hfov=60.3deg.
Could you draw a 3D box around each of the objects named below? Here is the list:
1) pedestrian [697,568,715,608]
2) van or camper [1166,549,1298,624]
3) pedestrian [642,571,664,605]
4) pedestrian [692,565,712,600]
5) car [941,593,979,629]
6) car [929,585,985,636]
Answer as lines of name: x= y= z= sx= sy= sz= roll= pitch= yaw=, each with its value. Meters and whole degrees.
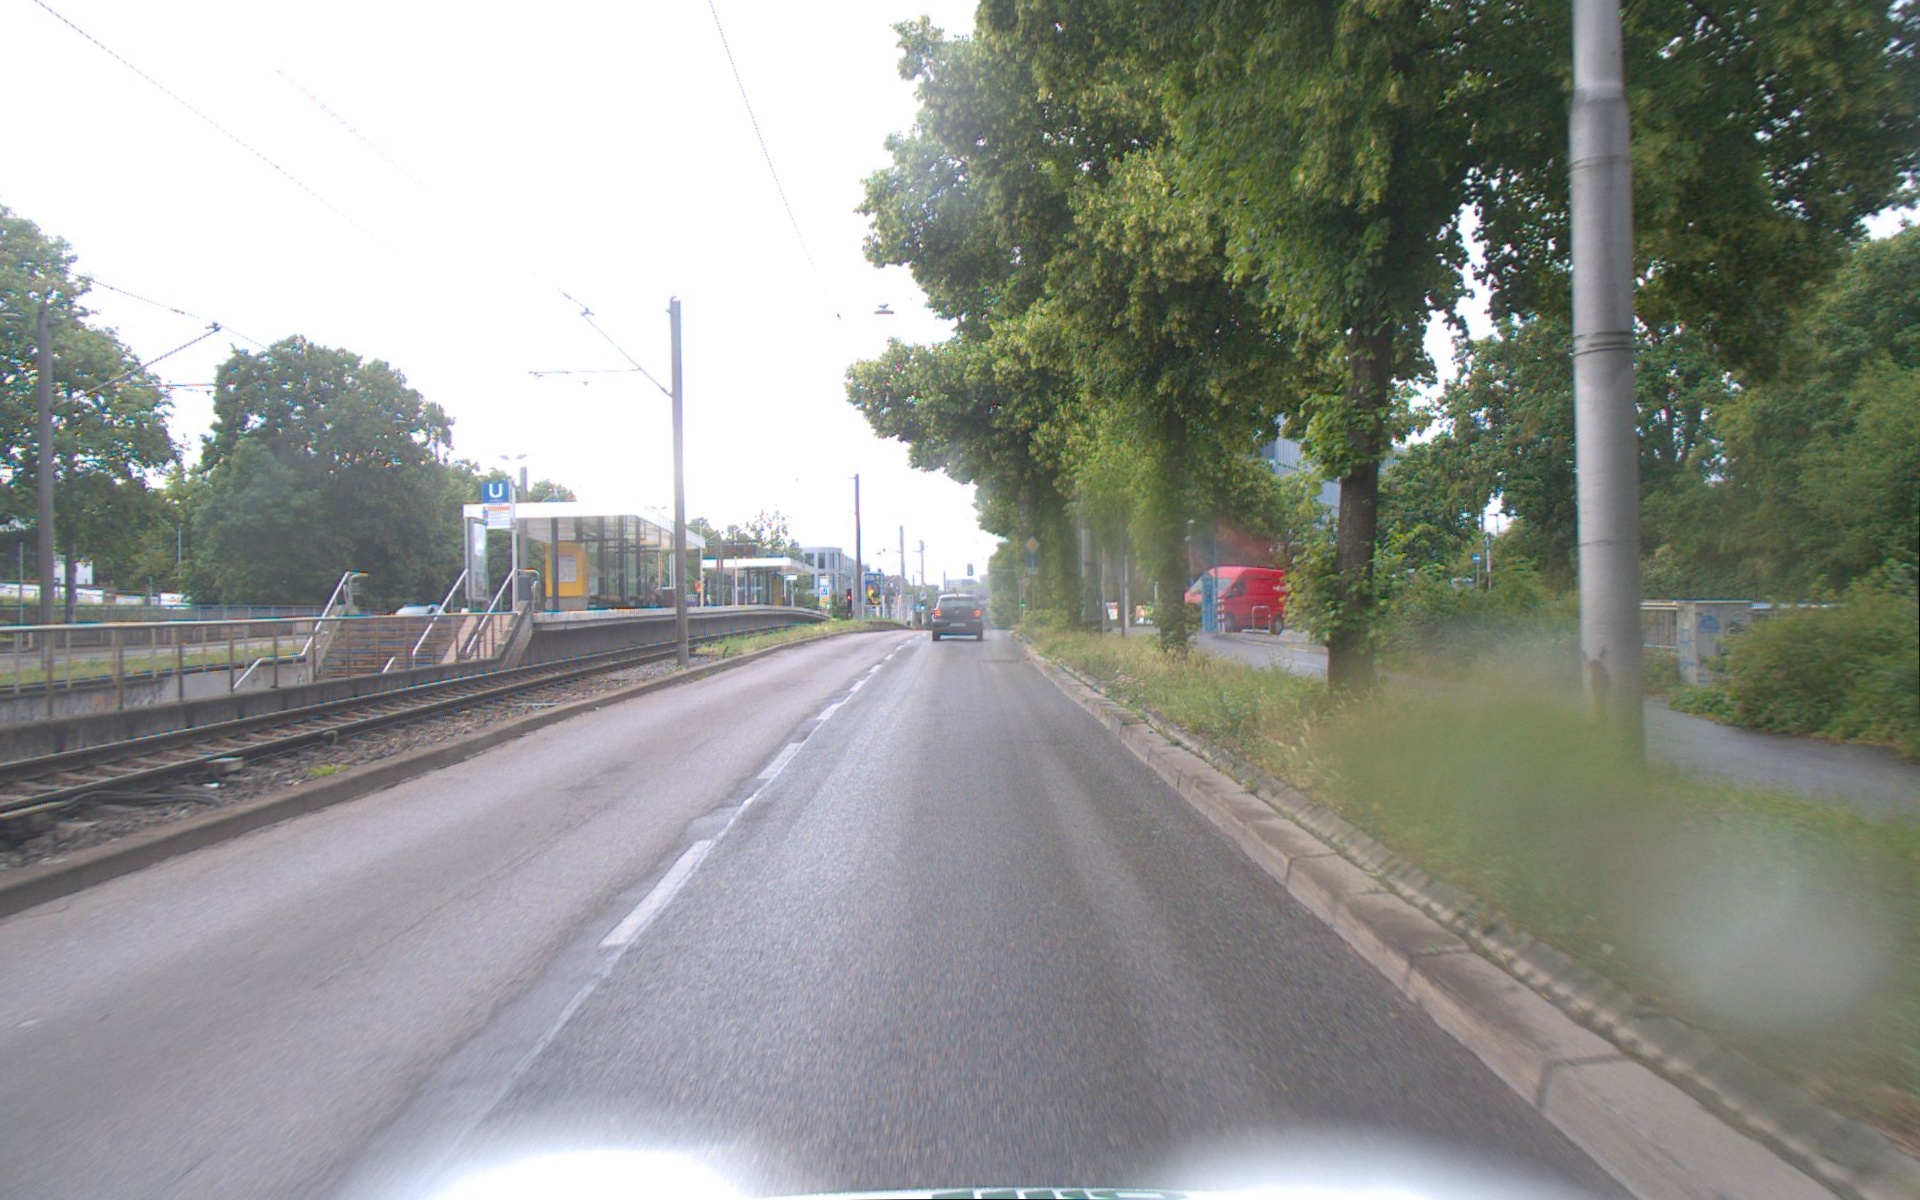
pedestrian: x=-12.437 y=-0.572 z=80.922 sx=0.732 sy=1.943 sz=0.837 roll=0 pitch=1 yaw=-20
van or camper: x=9.901 y=-0.447 z=59.870 sx=2.006 sy=2.448 sz=5.357 roll=3 pitch=0 yaw=43
pedestrian: x=-11.451 y=-0.435 z=61.668 sx=0.696 sy=1.247 sz=0.619 roll=-1 pitch=0 yaw=0
pedestrian: x=-12.456 y=-0.864 z=79.970 sx=0.783 sy=1.675 sz=0.913 roll=0 pitch=1 yaw=-20
car: x=0.015 y=0.483 z=76.276 sx=1.653 sy=1.544 sz=4.000 roll=-1 pitch=0 yaw=0
car: x=-0.098 y=0.305 z=53.276 sx=1.691 sy=1.567 sz=4.000 roll=-1 pitch=0 yaw=0
